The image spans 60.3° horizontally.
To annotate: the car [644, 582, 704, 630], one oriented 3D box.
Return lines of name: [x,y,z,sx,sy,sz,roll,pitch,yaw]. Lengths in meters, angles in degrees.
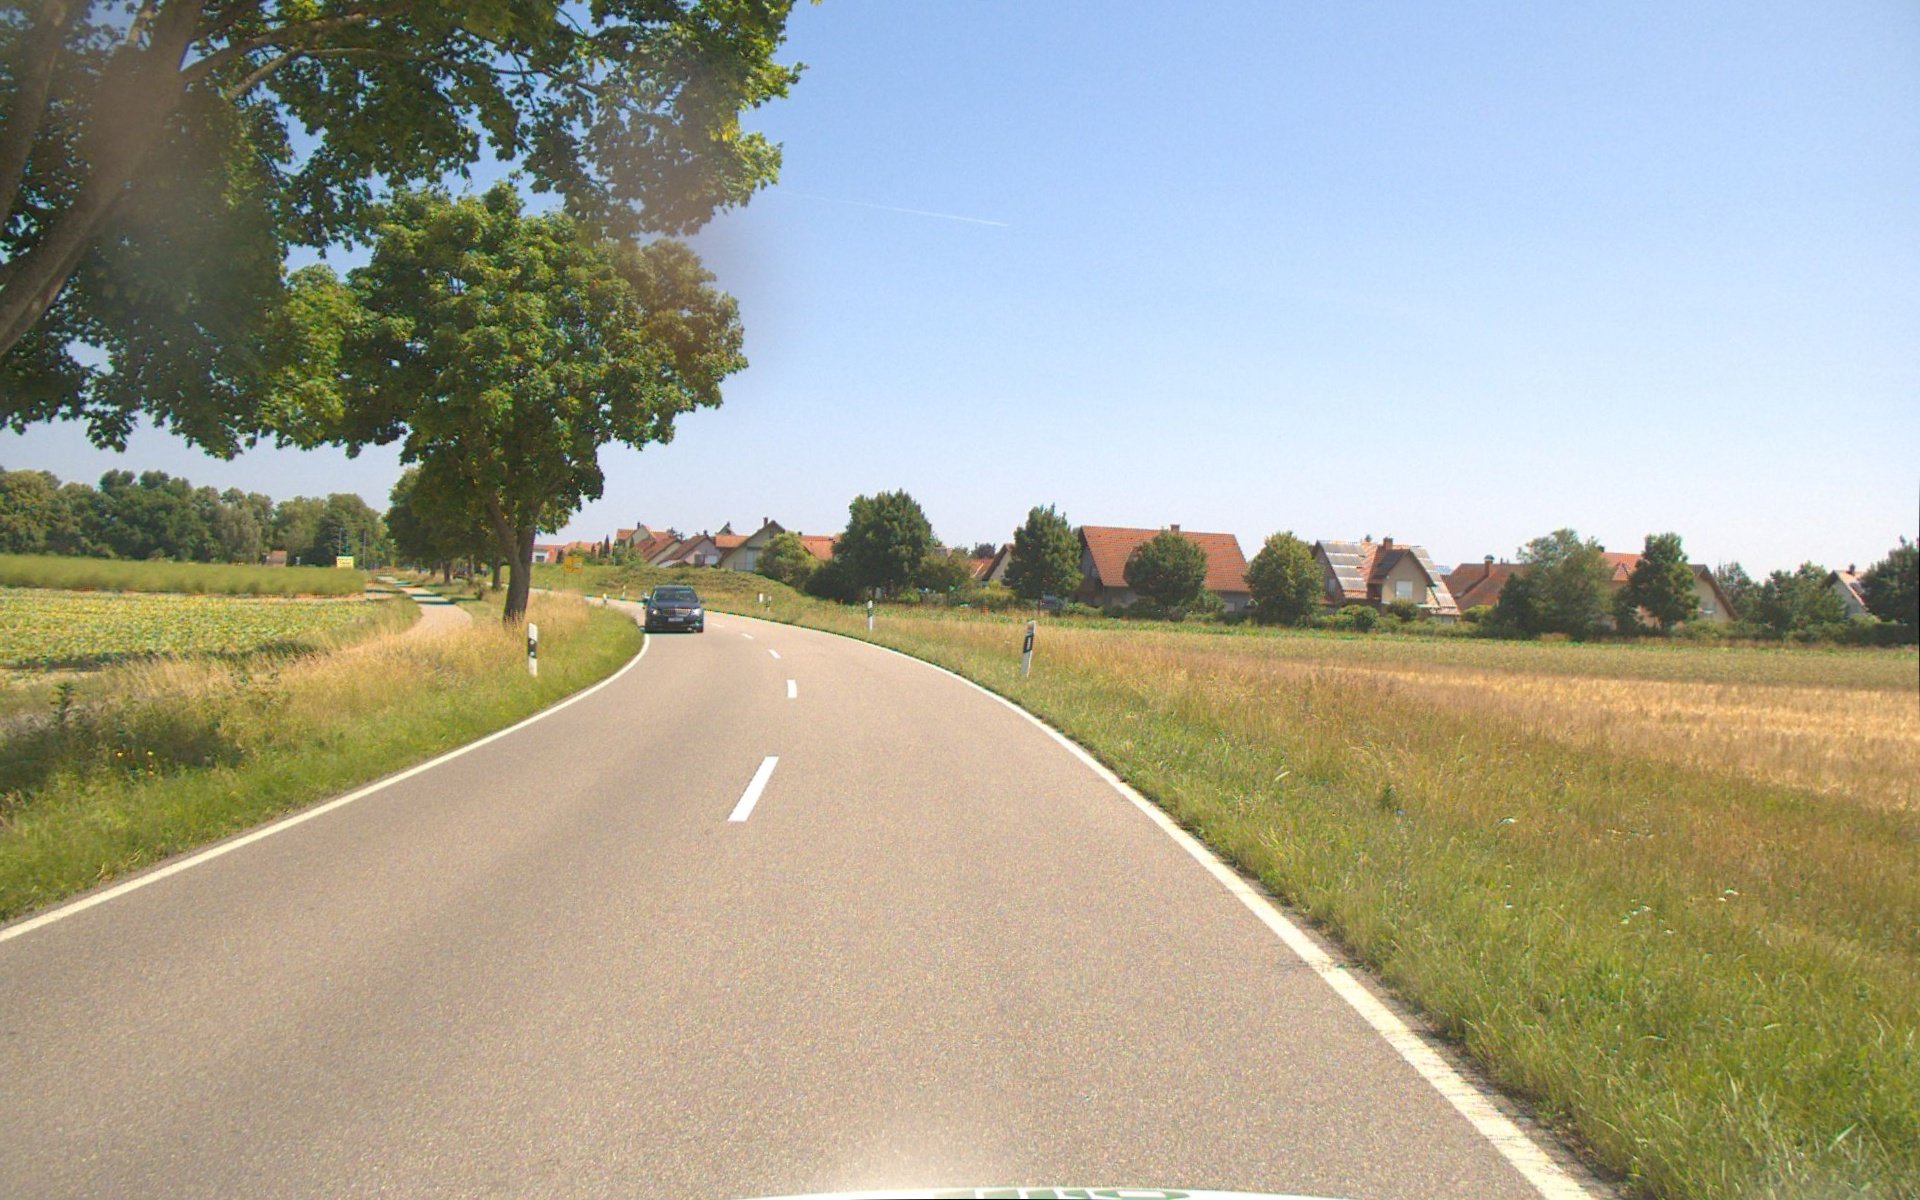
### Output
car: [-9.084,0.169,52.301,1.616,1.454,4.166,-1,0,-13]
